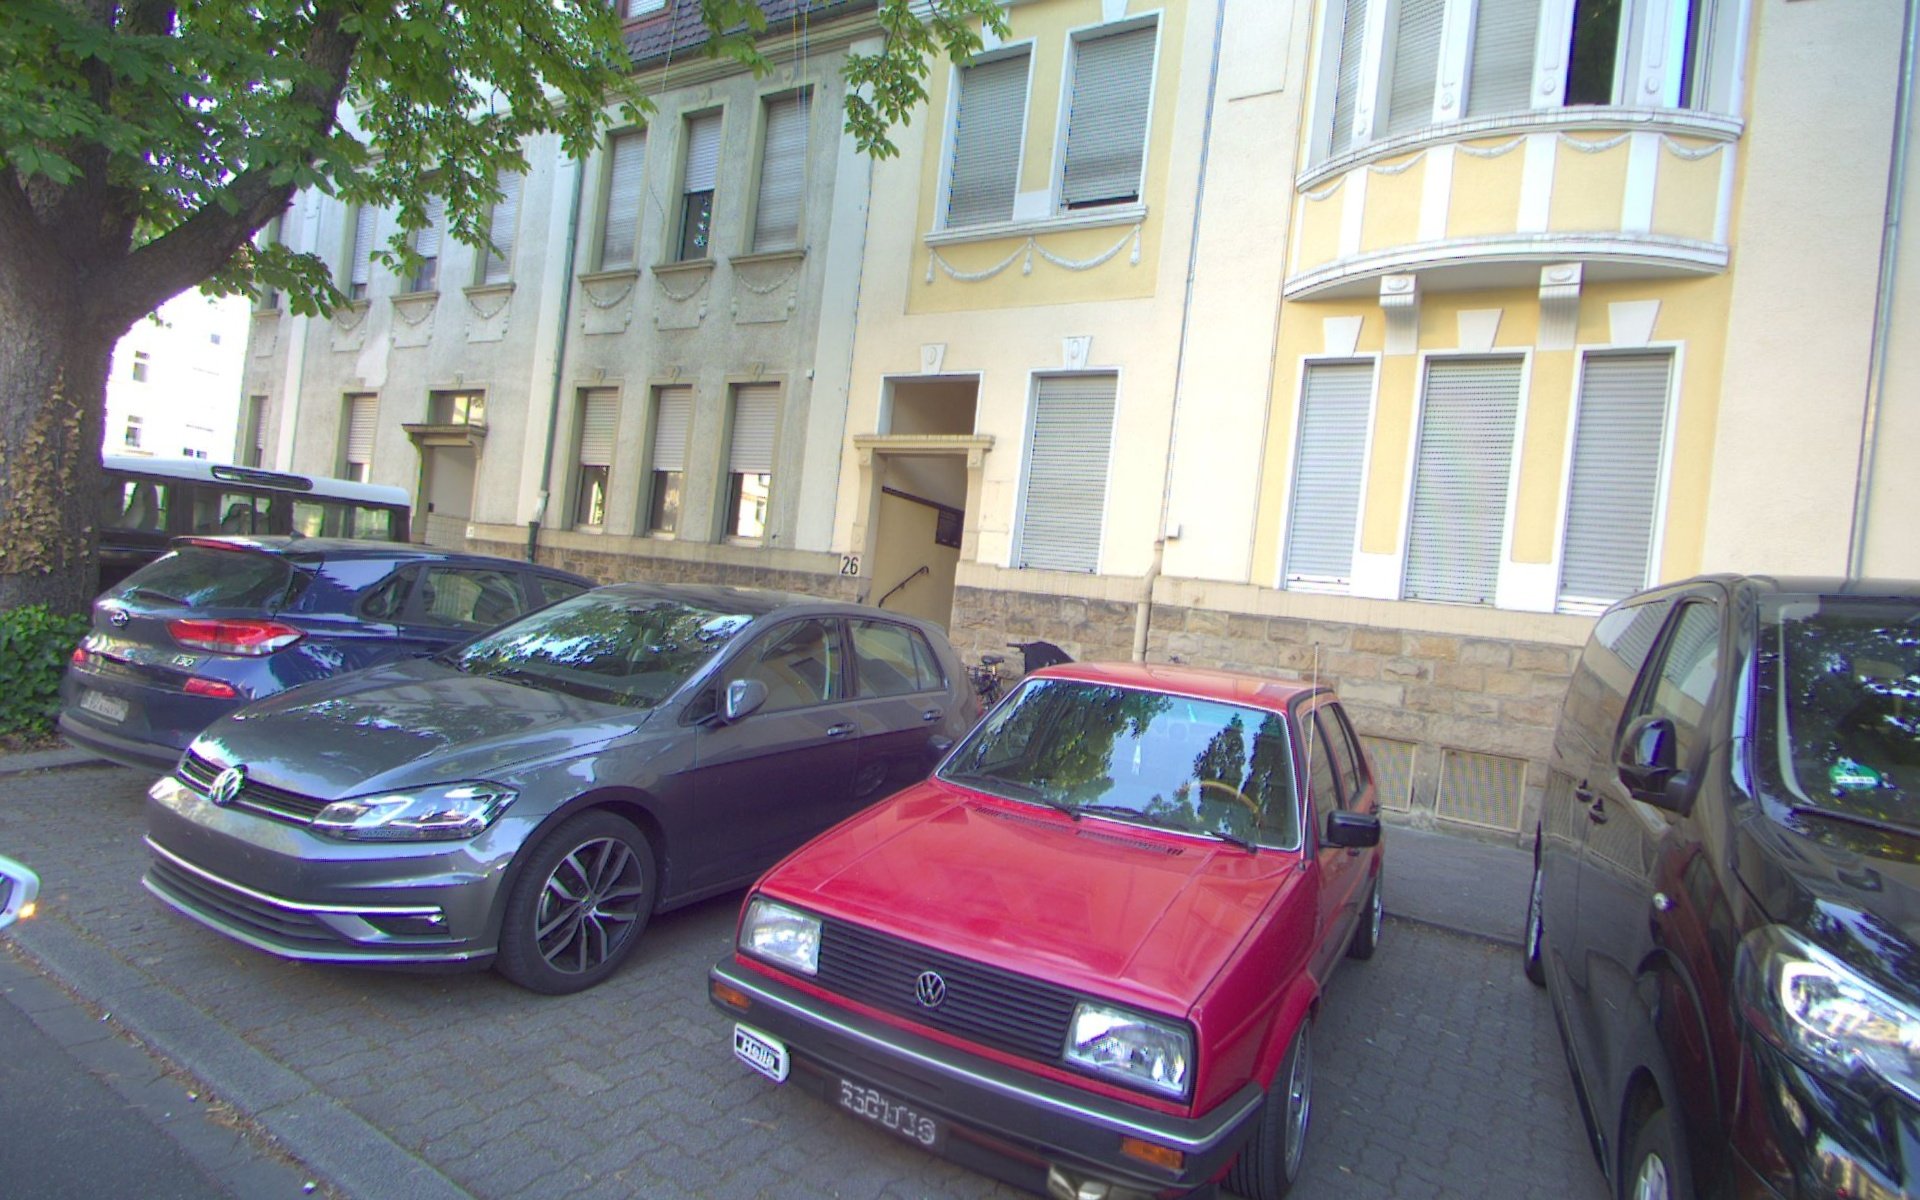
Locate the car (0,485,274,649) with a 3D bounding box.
[{"bbox_3d":[-9.987,-0.390,10.945,1.679,1.589,3.730,6,0,28],"label":"car"}]

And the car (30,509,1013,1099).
[{"bbox_3d":[-1.432,0.618,4.825,1.693,1.470,4.060,6,0,28],"label":"car"}]

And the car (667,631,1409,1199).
[{"bbox_3d":[0.875,0.943,4.313,1.601,1.332,4.144,6,0,27],"label":"car"}]

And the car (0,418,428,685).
[{"bbox_3d":[-7.592,-0.372,9.244,1.671,2.061,4.473,6,0,28],"label":"car"}]

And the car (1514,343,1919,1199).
[{"bbox_3d":[2.852,0.867,2.885,1.864,1.898,4.759,6,0,27],"label":"car"}]

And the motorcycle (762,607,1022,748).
[{"bbox_3d":[-0.790,0.772,10.793,2.822,1.087,0.694,7,2,31],"label":"motorcycle"}]

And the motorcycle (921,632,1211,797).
[{"bbox_3d":[0.956,0.993,9.403,2.439,1.087,0.959,7,2,32],"label":"motorcycle"}]

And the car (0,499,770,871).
[{"bbox_3d":[-3.085,0.422,6.207,1.679,1.470,3.730,6,0,28],"label":"car"}]
